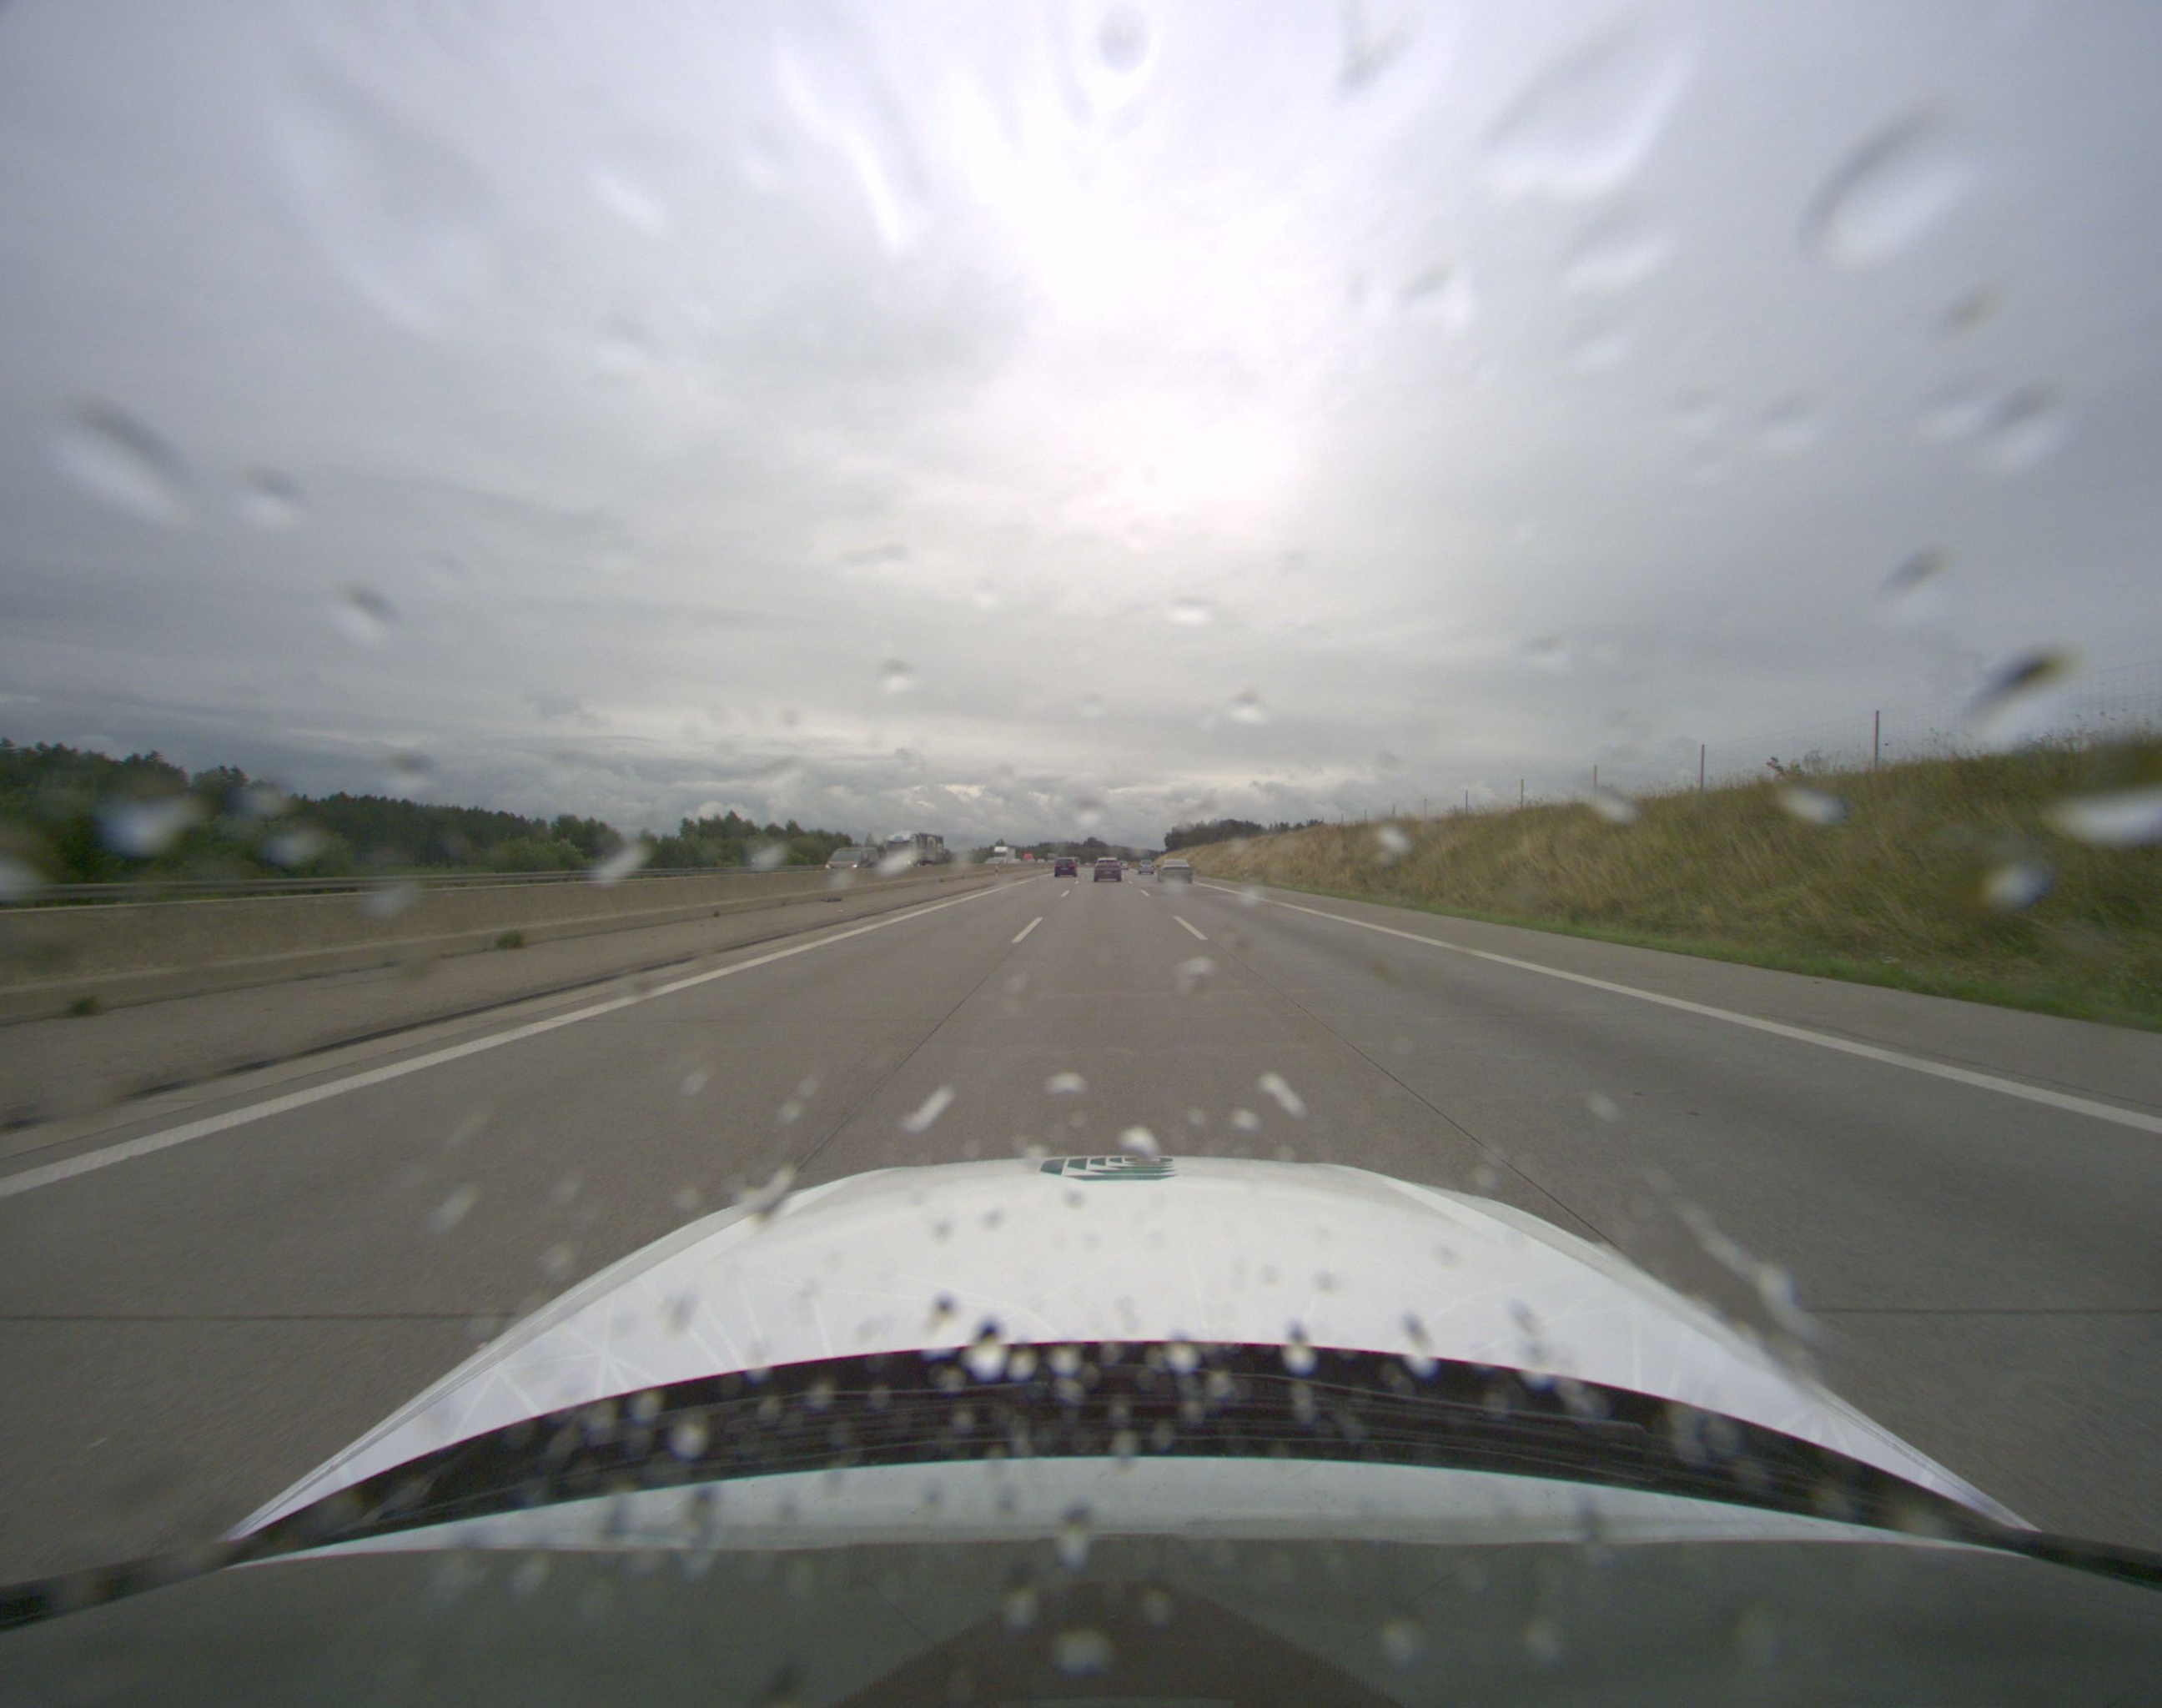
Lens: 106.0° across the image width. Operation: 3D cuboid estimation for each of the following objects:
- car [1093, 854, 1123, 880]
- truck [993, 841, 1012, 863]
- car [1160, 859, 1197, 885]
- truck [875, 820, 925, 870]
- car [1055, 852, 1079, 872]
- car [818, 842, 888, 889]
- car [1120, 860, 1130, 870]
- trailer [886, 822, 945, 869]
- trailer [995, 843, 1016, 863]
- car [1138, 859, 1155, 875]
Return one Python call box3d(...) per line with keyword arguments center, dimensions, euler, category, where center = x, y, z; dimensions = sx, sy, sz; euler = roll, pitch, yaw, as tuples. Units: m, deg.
box3d(center=(1.791, 0.844, 55.600), dimensions=(1.892, 1.690, 5.265), euler=(0, 0, 0), category="car")
box3d(center=(-15.385, -0.410, 159.428), dimensions=(2.873, 4.291, 7.137), euler=(0, 0, 1), category="truck")
box3d(center=(5.928, 1.063, 50.163), dimensions=(2.005, 1.446, 4.749), euler=(0, 0, 4), category="car")
box3d(center=(-18.154, -0.890, 82.215), dimensions=(3.575, 4.819, 5.869), euler=(0, 0, 1), category="truck")
box3d(center=(-1.156, 0.672, 71.360), dimensions=(1.777, 1.747, 3.919), euler=(0, 0, 4), category="car")
box3d(center=(-11.207, 0.519, 40.374), dimensions=(1.986, 2.147, 4.865), euler=(0, 0, 1), category="car")
box3d(center=(7.090, 1.822, 131.903), dimensions=(1.480, 1.470, 3.506), euler=(2, 0, 1), category="car")
box3d(center=(-18.006, -0.931, 89.487), dimensions=(3.586, 4.799, 12.910), euler=(0, 0, 1), category="trailer")
box3d(center=(-15.282, -0.268, 165.586), dimensions=(2.878, 4.002, 13.016), euler=(0, 0, 1), category="trailer")
box3d(center=(6.646, 1.277, 83.051), dimensions=(1.480, 1.470, 3.506), euler=(2, 0, 1), category="car")
